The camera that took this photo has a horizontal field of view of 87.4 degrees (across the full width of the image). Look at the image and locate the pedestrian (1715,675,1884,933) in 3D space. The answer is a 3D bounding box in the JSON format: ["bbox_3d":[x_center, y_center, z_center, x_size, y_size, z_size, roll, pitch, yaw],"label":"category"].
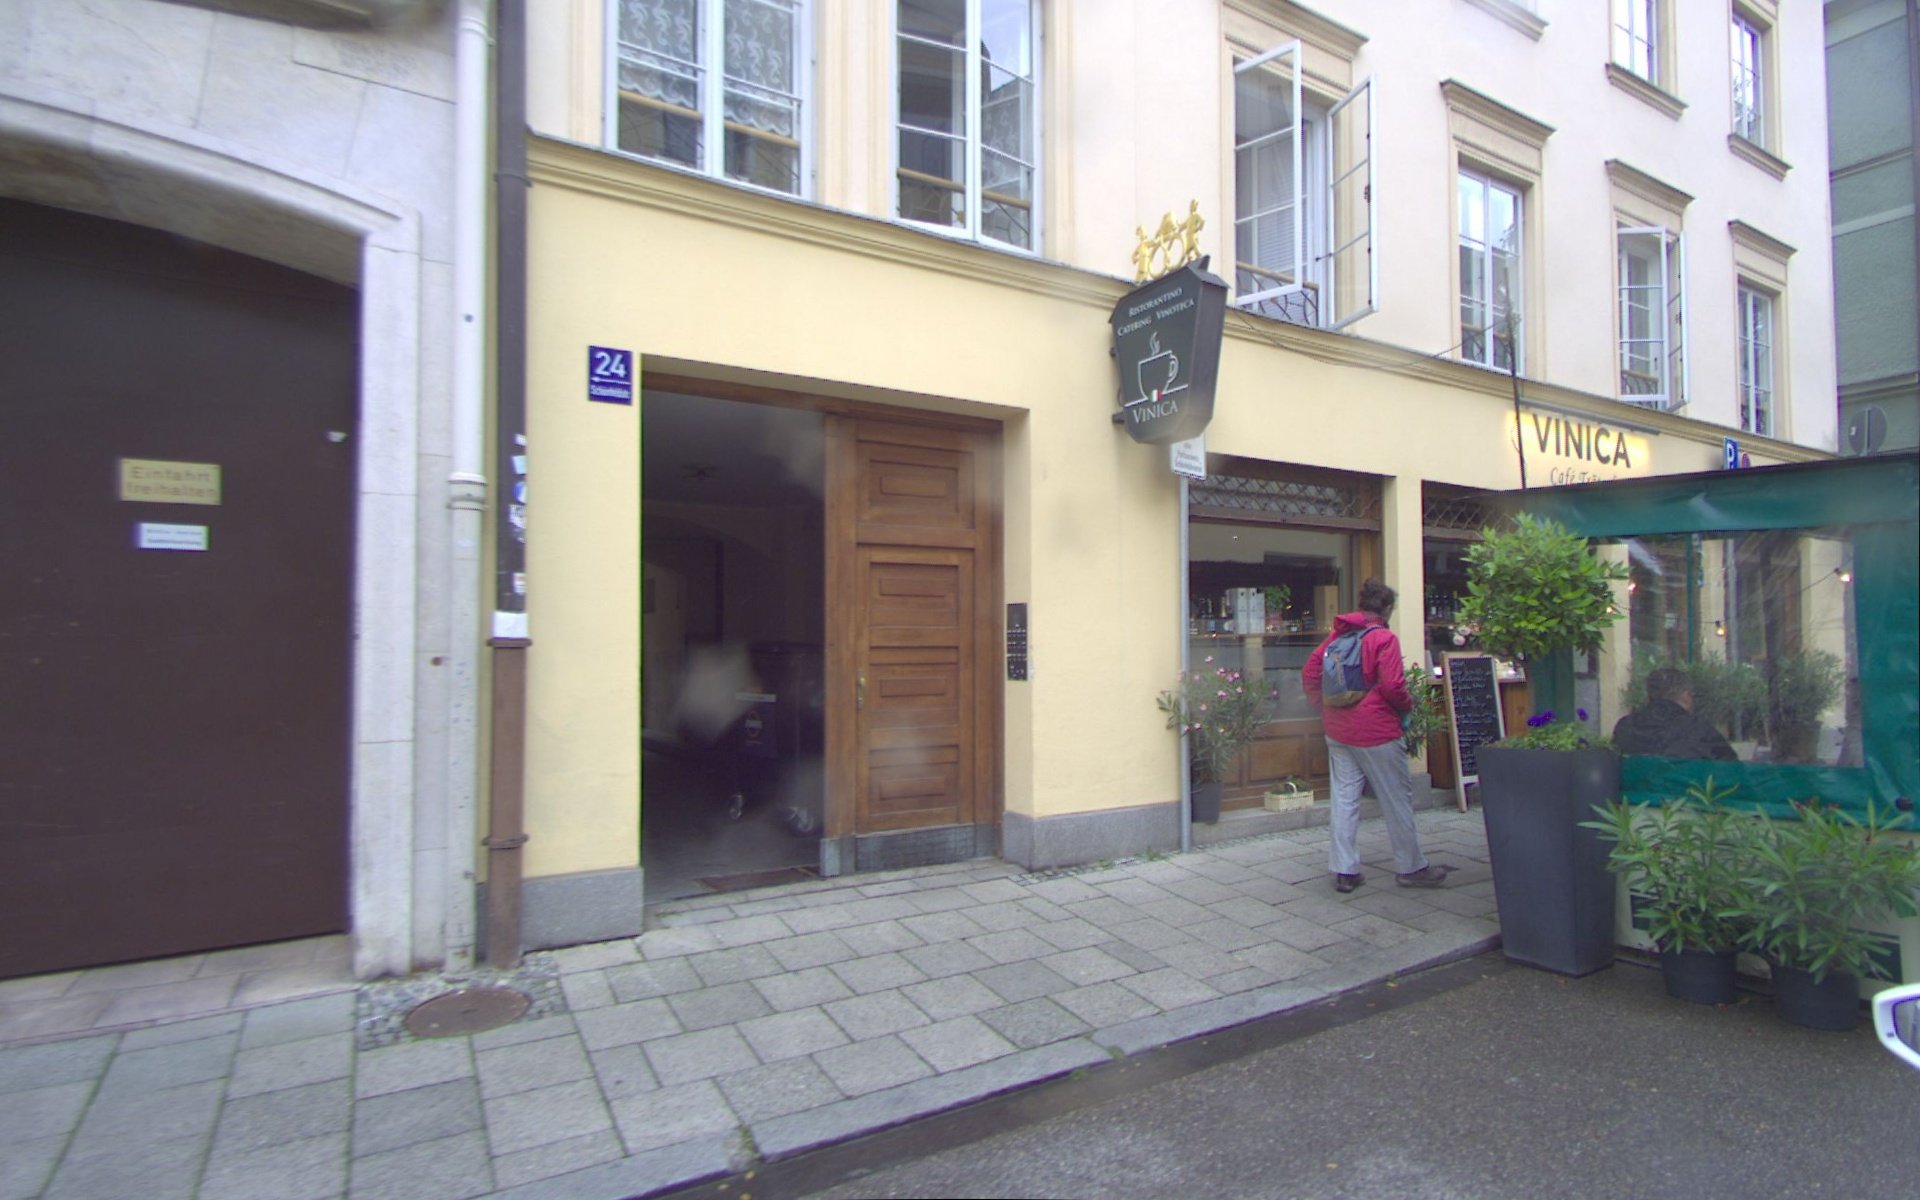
[{"bbox_3d":[4.366,1.010,5.229,0.624,1.203,0.507,1,-1,-33],"label":"pedestrian"}]

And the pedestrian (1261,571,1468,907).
[{"bbox_3d":[2.293,0.737,5.728,0.777,1.730,0.761,1,-2,-33],"label":"pedestrian"}]

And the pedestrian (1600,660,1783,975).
[{"bbox_3d":[3.467,0.972,4.768,0.624,1.344,0.507,1,-1,-33],"label":"pedestrian"}]
